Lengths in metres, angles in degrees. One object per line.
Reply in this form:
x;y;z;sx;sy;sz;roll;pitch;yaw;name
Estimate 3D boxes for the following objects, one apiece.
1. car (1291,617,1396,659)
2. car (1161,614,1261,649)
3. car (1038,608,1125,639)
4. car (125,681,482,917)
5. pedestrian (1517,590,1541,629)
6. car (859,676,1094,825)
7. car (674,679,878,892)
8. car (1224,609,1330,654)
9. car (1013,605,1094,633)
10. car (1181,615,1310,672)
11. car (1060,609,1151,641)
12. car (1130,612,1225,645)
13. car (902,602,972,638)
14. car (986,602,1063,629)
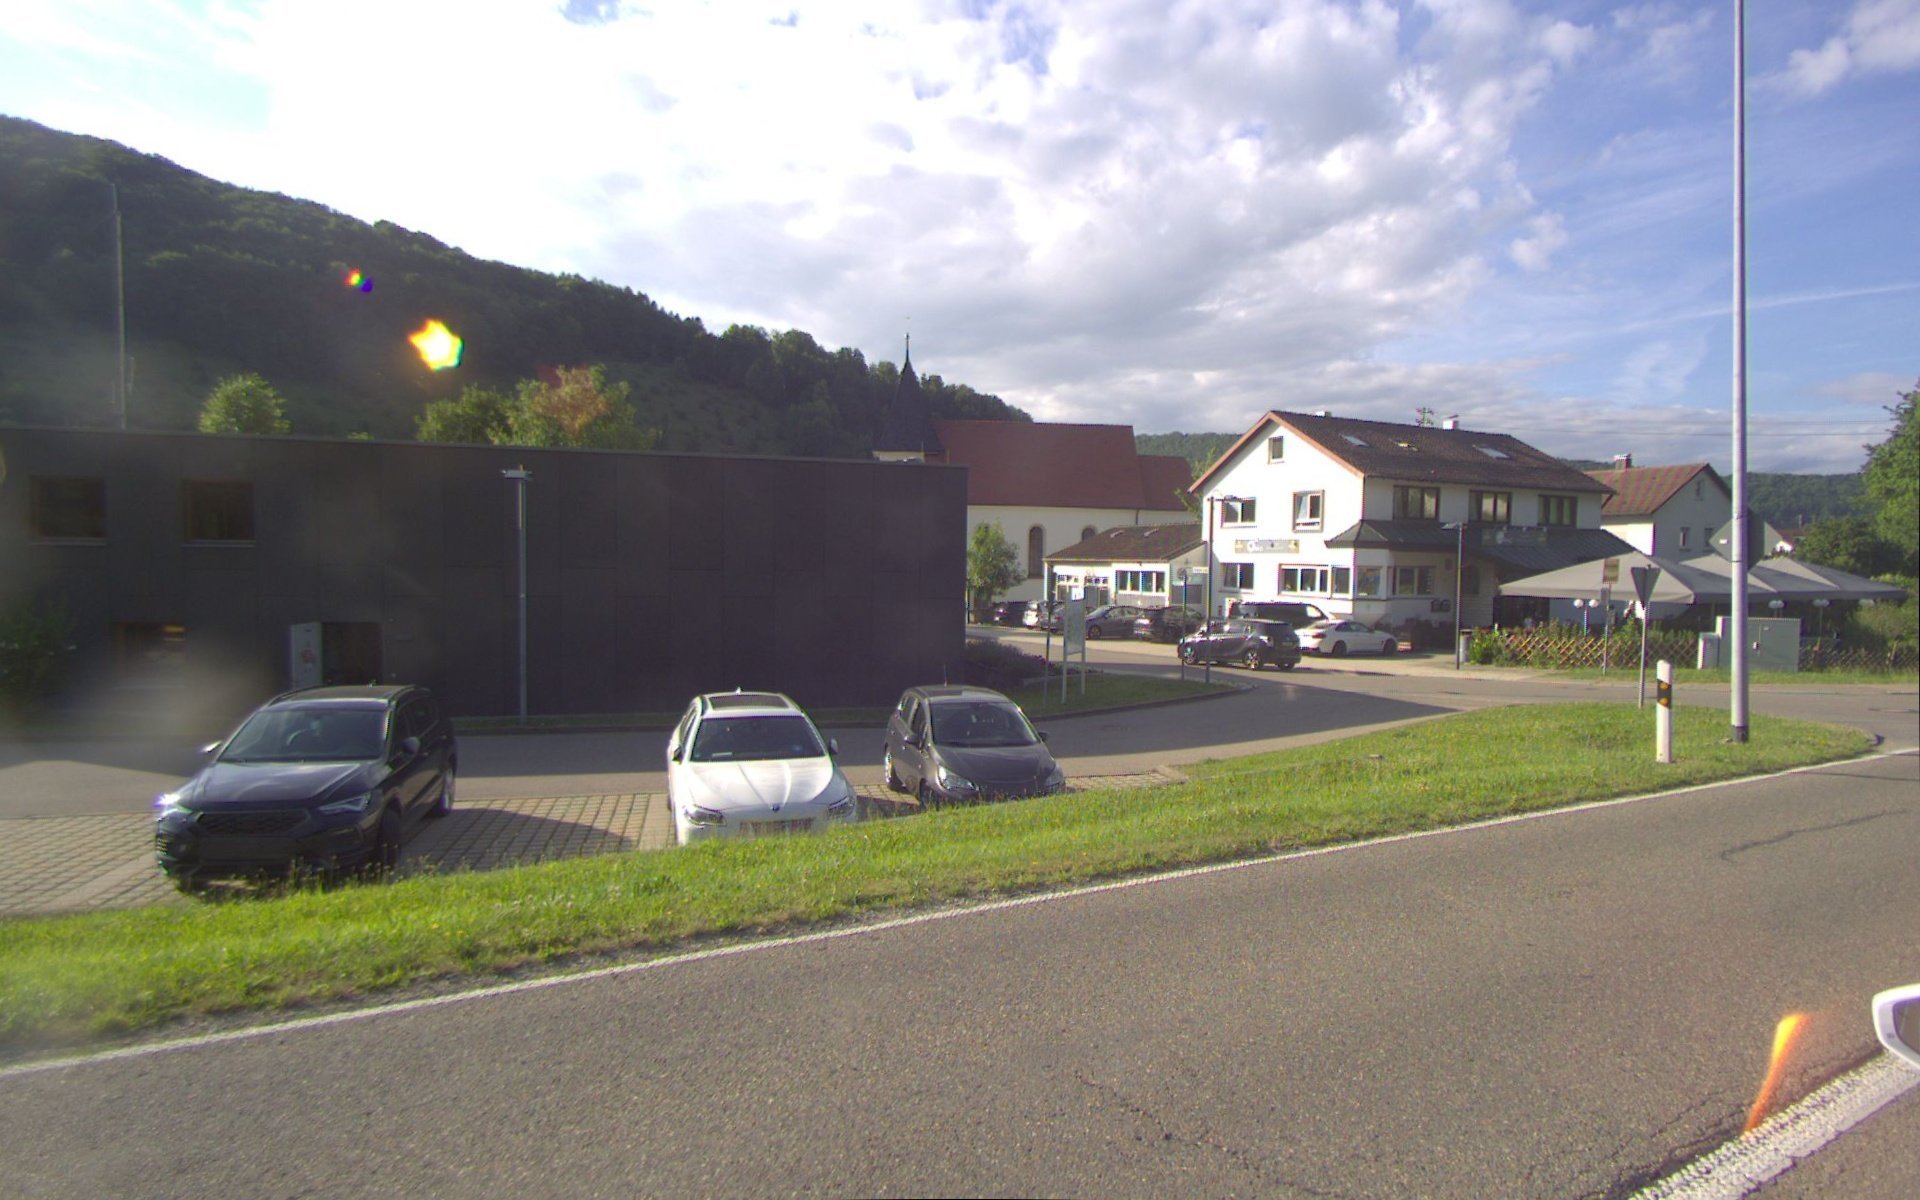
14.644;1.464;38.340;3.951;1.469;1.549;2;-1;-29;car
10.719;1.357;42.865;3.952;1.372;1.833;2;-1;-29;car
6.098;1.181;50.411;3.950;1.372;1.834;2;-1;-28;car
-6.514;1.843;10.566;1.967;1.659;4.024;2;-1;-16;car
22.706;0.384;40.087;0.582;1.523;0.606;2;0;-28;pedestrian
0.033;1.809;13.098;1.734;1.327;3.982;2;-1;-20;car
-2.353;1.911;11.752;1.850;1.513;4.813;2;0;-16;car
12.854;1.262;40.675;3.951;1.684;1.879;2;-1;-29;car
5.019;1.009;53.740;3.950;1.372;1.834;2;-1;-28;car
9.388;1.408;33.302;1.733;1.661;3.963;2;-1;-33;car
6.871;1.176;47.458;3.950;1.372;1.834;2;-1;-28;car
9.796;1.279;45.236;3.952;1.372;1.833;2;-1;-29;car
-1.197;0.968;49.876;1.787;1.661;4.433;2;-1;-26;car
3.639;0.863;56.392;3.950;1.372;1.834;2;-1;-28;car
